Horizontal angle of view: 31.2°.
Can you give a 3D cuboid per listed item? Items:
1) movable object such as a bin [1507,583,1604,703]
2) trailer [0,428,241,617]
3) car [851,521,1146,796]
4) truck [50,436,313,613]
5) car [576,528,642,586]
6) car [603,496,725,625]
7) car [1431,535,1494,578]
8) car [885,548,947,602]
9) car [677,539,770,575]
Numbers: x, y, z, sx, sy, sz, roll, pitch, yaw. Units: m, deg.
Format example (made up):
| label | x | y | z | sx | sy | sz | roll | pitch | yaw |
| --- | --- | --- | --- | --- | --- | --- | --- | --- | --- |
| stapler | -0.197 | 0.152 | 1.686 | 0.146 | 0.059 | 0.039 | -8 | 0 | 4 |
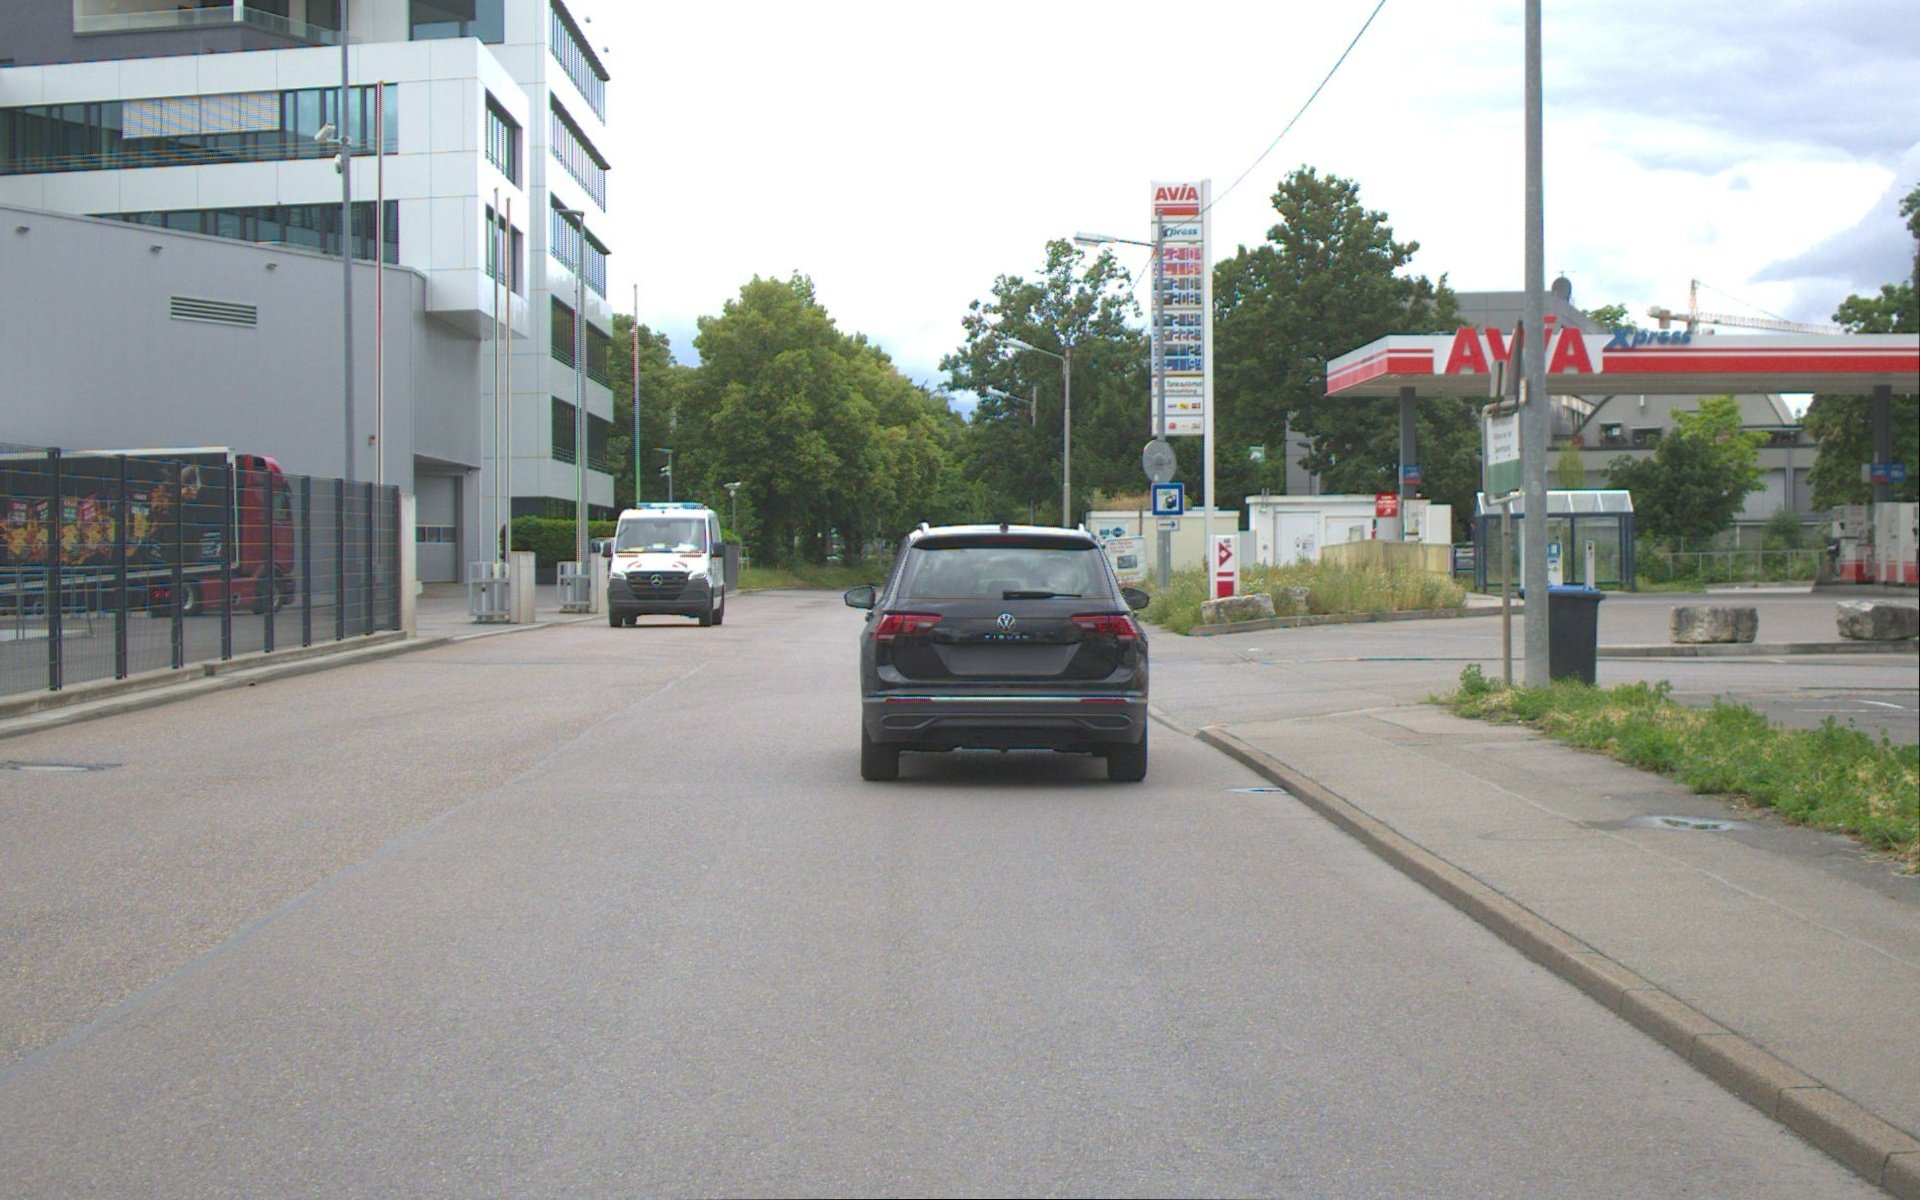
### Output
| label | x | y | z | sx | sy | sz | roll | pitch | yaw |
| --- | --- | --- | --- | --- | --- | --- | --- | --- | --- |
| movable object such as a bin | 5.477 | 0.390 | 31.654 | 0.714 | 1.077 | 0.663 | 0 | 1 | -7 |
| trailer | -20.562 | -1.710 | 76.462 | 2.745 | 4.017 | 12.605 | 1 | 1 | 20 |
| car | 0.281 | 0.353 | 22.571 | 1.739 | 1.612 | 3.641 | 1 | 0 | 2 |
| truck | -18.494 | -1.798 | 82.167 | 2.745 | 4.017 | 7.086 | 1 | 1 | 20 |
| car | -10.931 | -1.345 | 107.198 | 1.650 | 1.756 | 3.179 | 1 | 1 | 1 |
| car | -5.755 | -0.800 | 67.443 | 1.993 | 2.408 | 5.257 | 1 | 1 | -1 |
| car | 20.263 | -1.761 | 138.550 | 1.995 | 1.606 | 4.439 | -1 | 1 | 15 |
| car | -1.332 | -0.776 | 104.006 | 1.839 | 1.611 | 4.000 | 0 | 1 | -1 |
| car | -16.003 | -2.889 | 232.547 | 6.071 | 2.379 | 2.394 | 0 | 1 | 2 |
